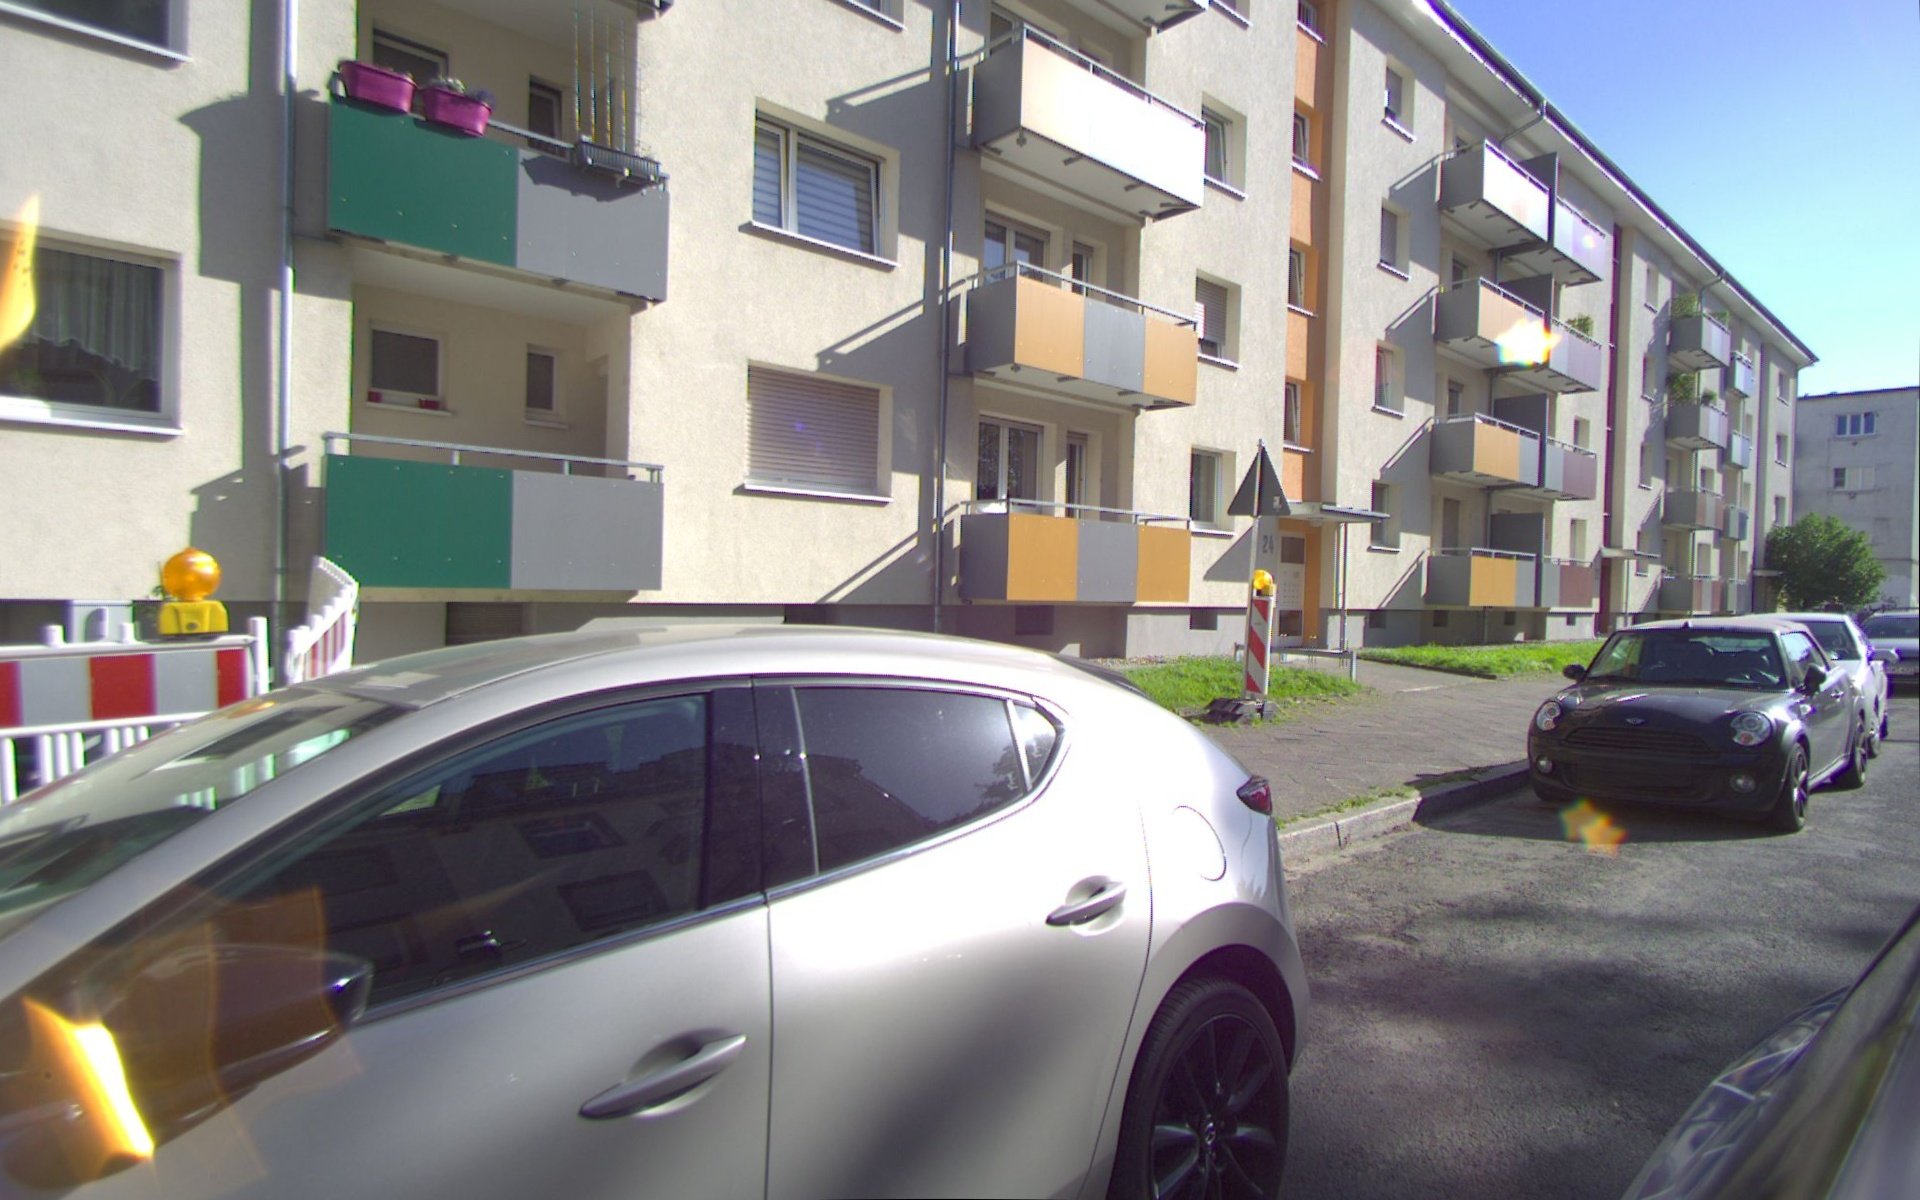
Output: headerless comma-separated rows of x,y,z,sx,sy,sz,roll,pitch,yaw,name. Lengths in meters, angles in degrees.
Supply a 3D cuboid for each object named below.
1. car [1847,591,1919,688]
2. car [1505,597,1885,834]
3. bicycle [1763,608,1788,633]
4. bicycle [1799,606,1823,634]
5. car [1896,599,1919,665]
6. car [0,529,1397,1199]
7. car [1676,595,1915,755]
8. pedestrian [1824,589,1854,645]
18.133,0.714,18.885,4.523,1.642,1.901,1,0,-43,car
6.004,0.749,8.143,3.519,1.486,1.691,1,-1,-40,car
32.850,0.827,40.775,2.246,0.972,0.485,1,3,-45,bicycle
33.528,0.781,39.861,2.246,1.024,0.485,1,3,-45,bicycle
23.392,0.789,23.535,4.441,1.461,1.757,1,2,-40,car
-1.125,0.694,1.784,4.262,1.490,1.795,1,-1,-40,car
9.693,0.741,11.643,3.756,1.481,1.687,1,1,-44,car
29.058,0.554,33.460,0.645,1.793,0.828,4,2,42,pedestrian
